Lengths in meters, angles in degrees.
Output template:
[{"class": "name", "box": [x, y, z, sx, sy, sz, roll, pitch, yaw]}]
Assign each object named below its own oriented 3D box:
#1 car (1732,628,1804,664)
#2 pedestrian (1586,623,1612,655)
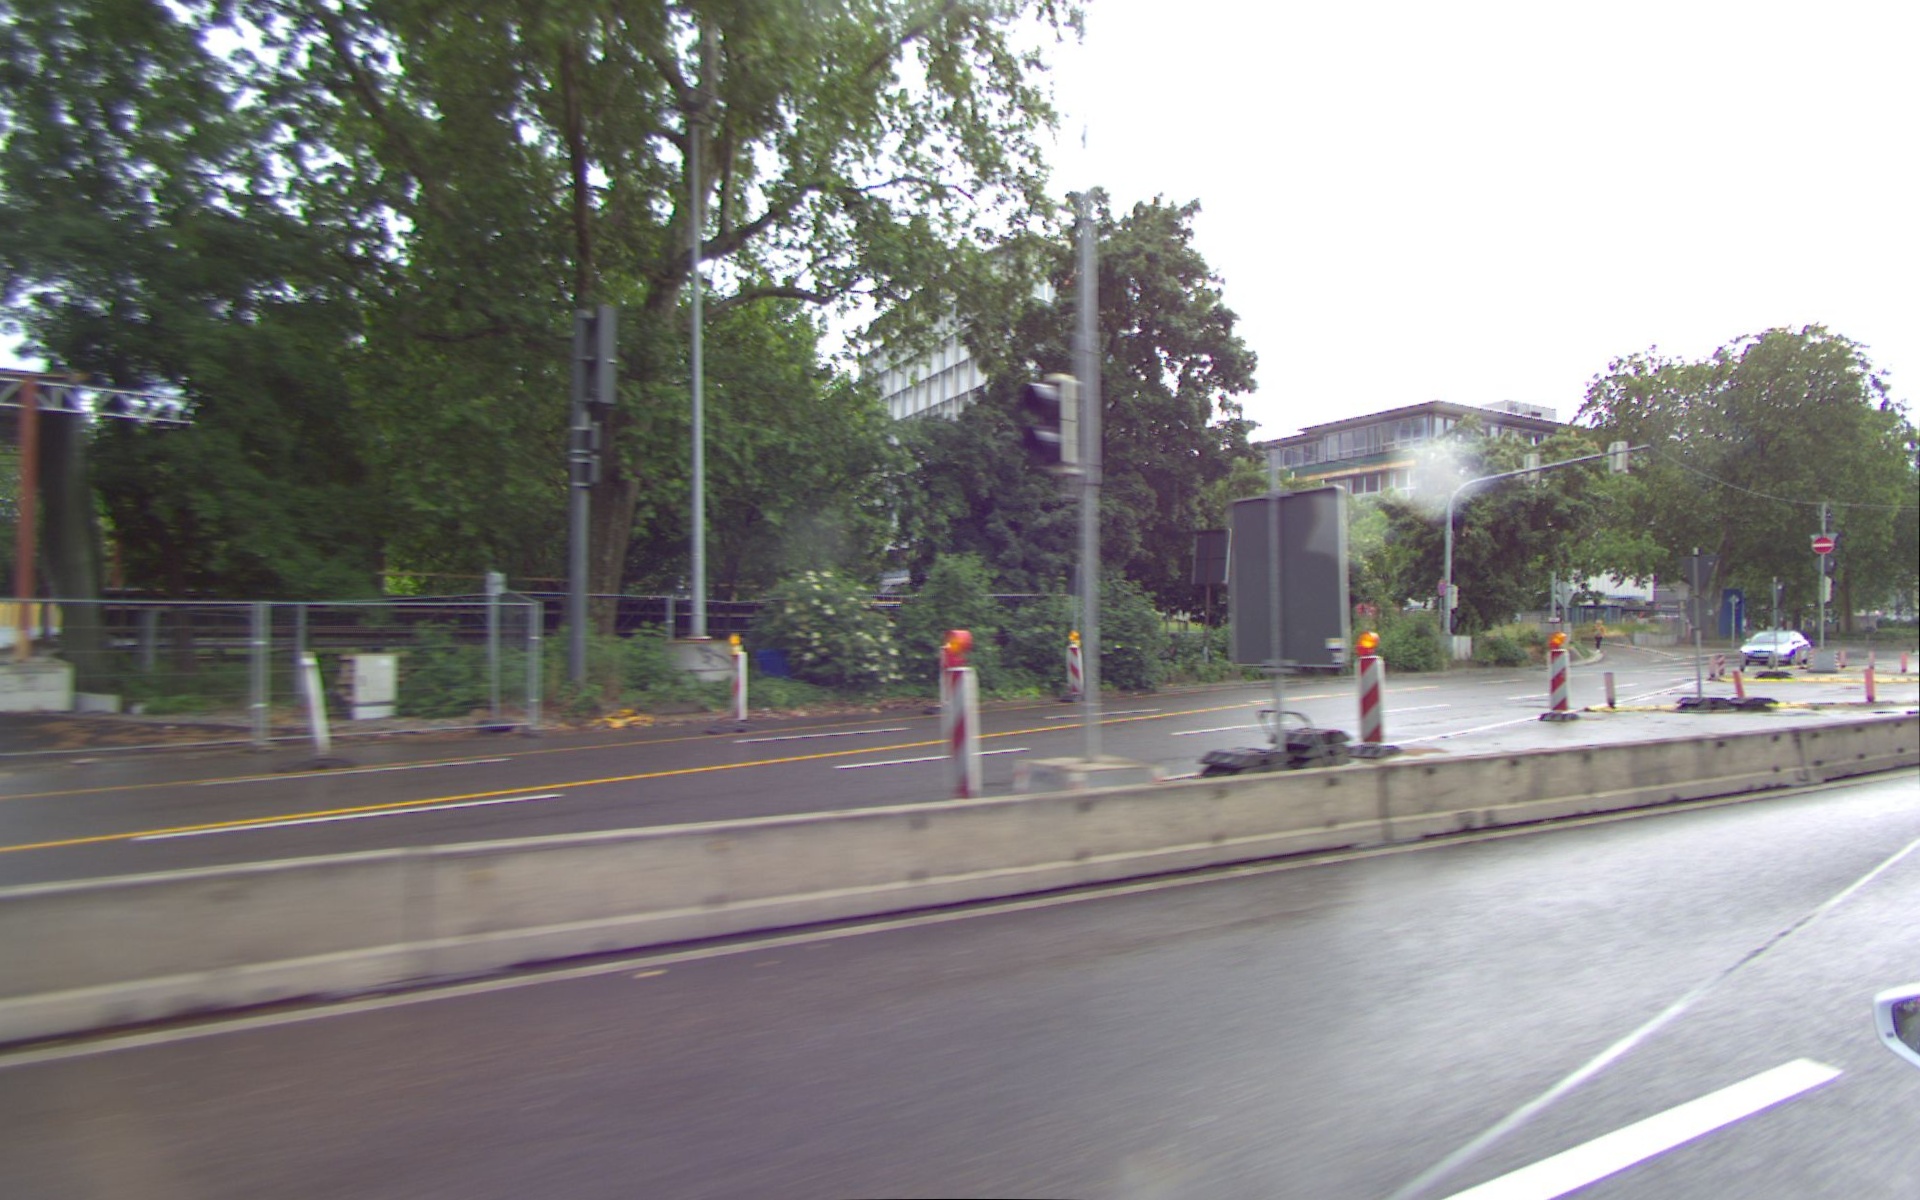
[{"class": "car", "box": [35.276, 2.032, 43.818, 4.146, 1.482, 1.750, 2, -4, -42]}, {"class": "pedestrian", "box": [32.856, 2.011, 51.644, 1.096, 1.577, 0.587, 3, -4, -18]}]
